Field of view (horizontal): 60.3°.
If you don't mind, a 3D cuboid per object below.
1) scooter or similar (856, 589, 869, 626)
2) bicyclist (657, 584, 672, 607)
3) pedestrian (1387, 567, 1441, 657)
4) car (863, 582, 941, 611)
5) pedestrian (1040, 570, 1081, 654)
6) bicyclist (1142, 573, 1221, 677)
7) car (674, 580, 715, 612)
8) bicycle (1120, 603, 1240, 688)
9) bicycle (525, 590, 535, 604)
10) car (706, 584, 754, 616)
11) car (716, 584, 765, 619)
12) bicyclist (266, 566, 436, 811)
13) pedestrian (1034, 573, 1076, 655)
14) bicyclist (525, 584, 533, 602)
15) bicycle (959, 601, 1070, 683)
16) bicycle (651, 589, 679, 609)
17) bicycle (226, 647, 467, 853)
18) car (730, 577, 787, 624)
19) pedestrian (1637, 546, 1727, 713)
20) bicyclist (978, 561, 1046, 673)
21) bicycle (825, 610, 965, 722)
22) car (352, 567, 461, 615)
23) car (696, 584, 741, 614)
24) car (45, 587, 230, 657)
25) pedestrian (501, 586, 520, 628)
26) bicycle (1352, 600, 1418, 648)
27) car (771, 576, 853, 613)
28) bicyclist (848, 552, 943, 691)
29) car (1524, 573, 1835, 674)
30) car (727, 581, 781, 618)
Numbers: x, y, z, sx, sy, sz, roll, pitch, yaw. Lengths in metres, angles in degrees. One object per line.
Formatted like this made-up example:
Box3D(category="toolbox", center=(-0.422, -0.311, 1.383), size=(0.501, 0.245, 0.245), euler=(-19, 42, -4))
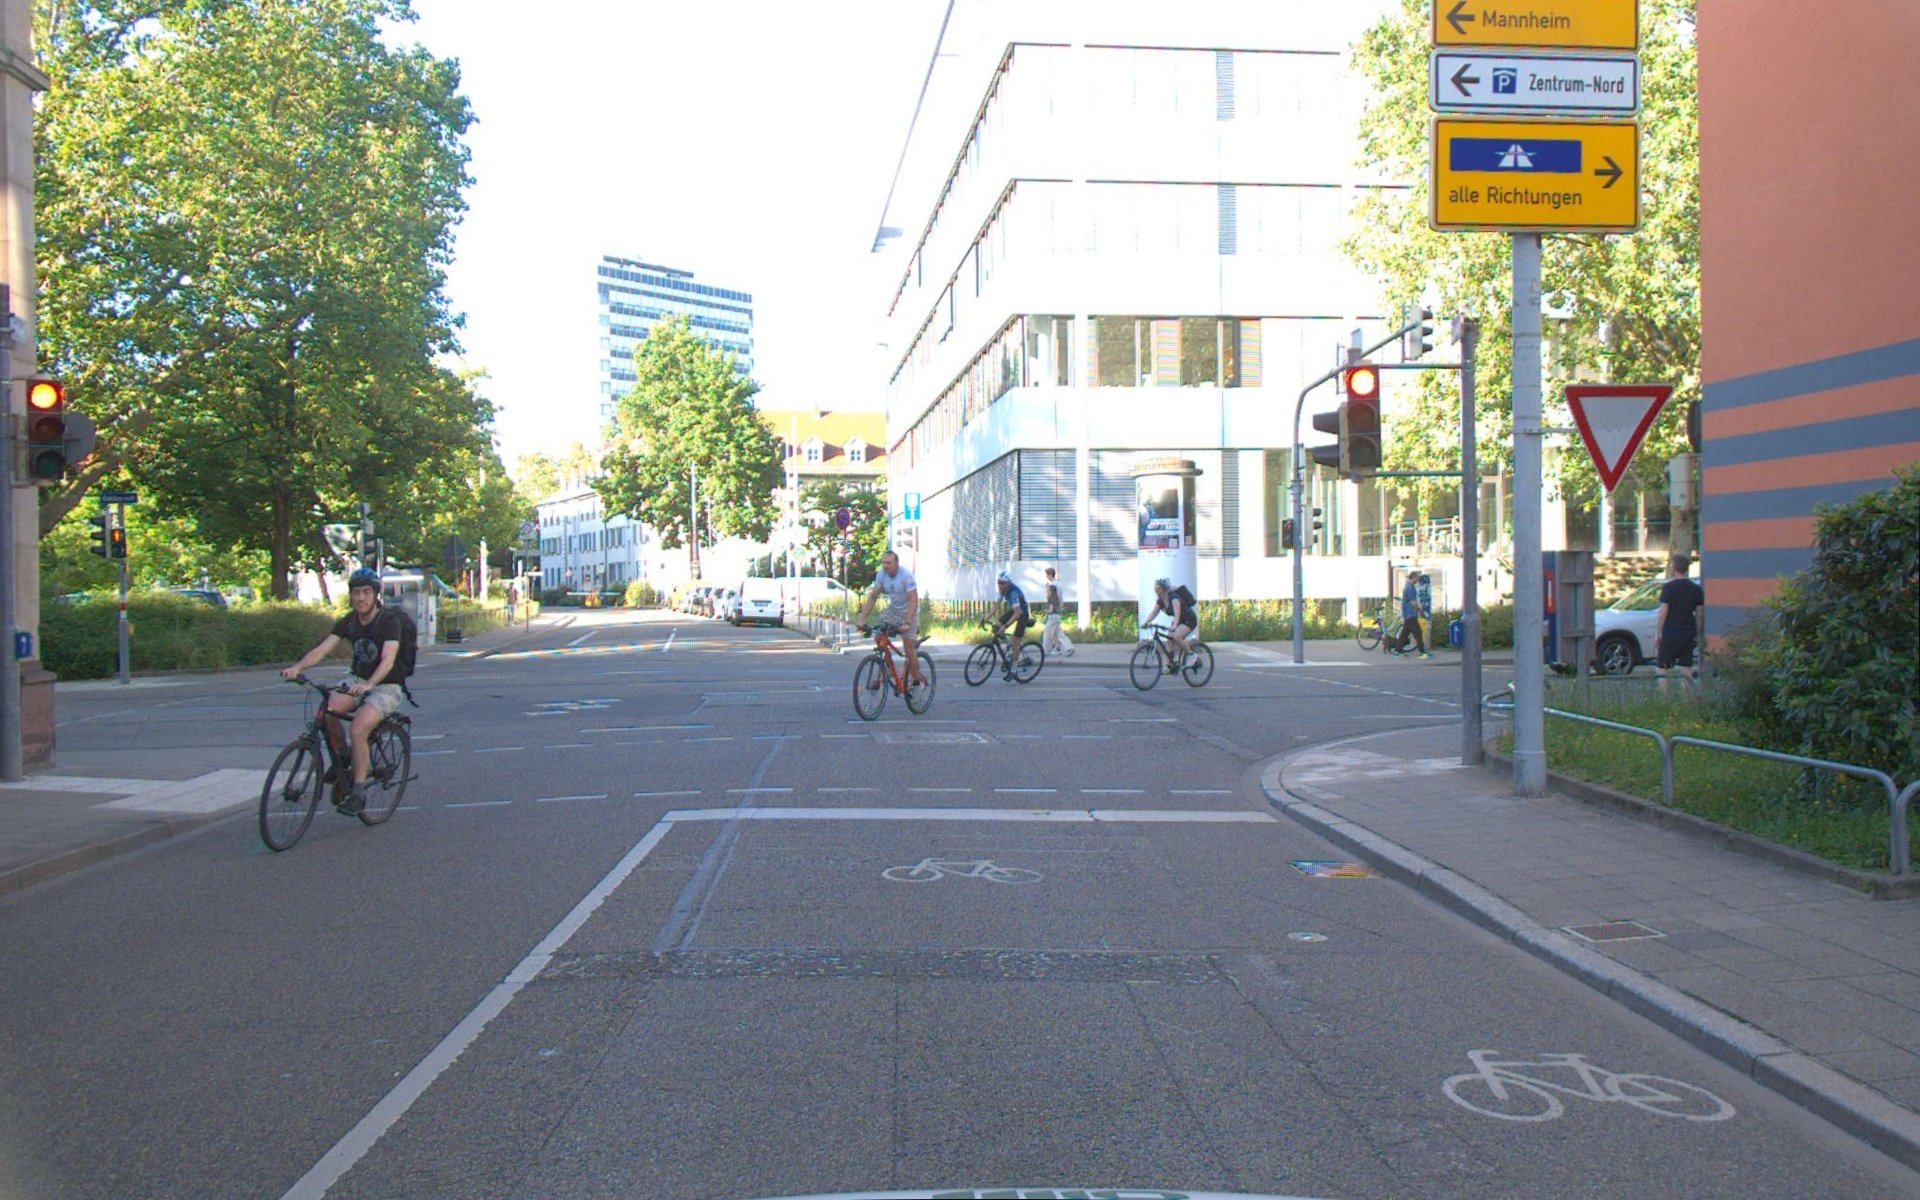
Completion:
Box3D(category="scooter or similar", center=(-3.430, 0.273, 58.244), size=(0.429, 1.278, 1.418), euler=(-1, 0, -5))
Box3D(category="bicyclist", center=(-18.403, -0.299, 103.101), size=(0.579, 1.421, 0.746), euler=(-1, 0, 31))
Box3D(category="pedestrian", center=(9.447, 0.249, 34.420), size=(0.897, 1.847, 0.760), euler=(1, -1, 32))
Box3D(category="car", center=(-3.675, -0.224, 104.732), size=(4.563, 1.755, 1.991), euler=(1, 0, -17))
Box3D(category="pedestrian", center=(2.224, 0.259, 36.586), size=(0.749, 1.826, 0.648), euler=(1, -1, 19))
Box3D(category="bicyclist", center=(3.231, 0.352, 24.116), size=(0.962, 1.471, 0.620), euler=(-1, 0, -33))
Box3D(category="car", center=(-15.384, -0.207, 95.614), size=(1.960, 1.755, 4.635), euler=(1, 0, -14))
Box3D(category="bicycle", center=(3.220, 0.649, 24.124), size=(1.762, 1.172, 0.620), euler=(-1, 0, -33))
Box3D(category="bicycle", center=(-37.038, -0.230, 142.312), size=(0.606, 1.172, 1.957), euler=(-1, 0, -21))
Box3D(category="car", center=(-11.309, -0.004, 81.092), size=(1.959, 1.525, 4.272), euler=(1, 0, -13))
Box3D(category="car", center=(-10.196, 0.064, 76.661), size=(1.958, 1.525, 4.639), euler=(1, 0, -11))
Box3D(category="bicyclist", center=(-4.043, 0.557, 11.054), size=(0.578, 1.554, 1.080), euler=(-1, 0, 10))
Box3D(category="pedestrian", center=(2.059, 0.301, 35.759), size=(0.749, 1.749, 0.648), euler=(1, -1, 17))
Box3D(category="bicyclist", center=(-37.090, -0.609, 142.317), size=(0.606, 1.498, 0.736), euler=(-1, 0, -21))
Box3D(category="bicycle", center=(0.838, 0.616, 24.991), size=(1.771, 1.172, 0.617), euler=(-1, 1, -44))
Box3D(category="bicycle", center=(-18.394, -0.060, 103.119), size=(0.579, 1.172, 1.966), euler=(-1, 0, 31))
Box3D(category="bicycle", center=(-4.031, 0.942, 11.047), size=(0.578, 1.172, 1.972), euler=(-1, 0, 10))
Box3D(category="car", center=(-7.918, 0.021, 64.711), size=(1.957, 1.755, 4.641), euler=(1, 0, -10))
Box3D(category="pedestrian", center=(8.178, 0.330, 18.726), size=(0.713, 1.842, 0.691), euler=(1, -1, -42))
Box3D(category="bicyclist", center=(0.786, 0.249, 24.941), size=(0.820, 1.657, 0.617), euler=(-1, 0, -44))
Box3D(category="bicycle", center=(-0.723, 0.726, 19.035), size=(0.614, 1.172, 1.965), euler=(-1, 0, 31))
Box3D(category="car", center=(-24.964, -0.389, 74.691), size=(4.363, 2.049, 1.995), euler=(1, 0, -10))
Box3D(category="car", center=(-12.552, -0.046, 85.798), size=(1.959, 1.525, 4.637), euler=(1, 0, -13))
Box3D(category="car", center=(-18.370, 0.484, 37.073), size=(3.347, 1.483, 1.646), euler=(1, 0, -11))
Box3D(category="pedestrian", center=(-17.822, 0.278, 65.576), size=(0.688, 1.614, 0.634), euler=(1, -1, -16))
Box3D(category="bicycle", center=(9.320, 0.517, 36.291), size=(0.376, 1.026, 1.410), euler=(-1, 0, -42))
Box3D(category="car", center=(-9.200, -0.342, 102.806), size=(4.718, 2.196, 1.990), euler=(1, 0, -18))
Box3D(category="bicyclist", center=(-0.734, 0.235, 19.043), size=(0.689, 1.549, 0.916), euler=(-1, 0, 32))
Box3D(category="car", center=(11.416, 0.347, 26.370), size=(4.271, 1.541, 1.717), euler=(0, 0, -6))
Box3D(category="car", center=(-8.870, -0.014, 70.910), size=(1.958, 1.525, 4.639), euler=(1, 0, -11))
